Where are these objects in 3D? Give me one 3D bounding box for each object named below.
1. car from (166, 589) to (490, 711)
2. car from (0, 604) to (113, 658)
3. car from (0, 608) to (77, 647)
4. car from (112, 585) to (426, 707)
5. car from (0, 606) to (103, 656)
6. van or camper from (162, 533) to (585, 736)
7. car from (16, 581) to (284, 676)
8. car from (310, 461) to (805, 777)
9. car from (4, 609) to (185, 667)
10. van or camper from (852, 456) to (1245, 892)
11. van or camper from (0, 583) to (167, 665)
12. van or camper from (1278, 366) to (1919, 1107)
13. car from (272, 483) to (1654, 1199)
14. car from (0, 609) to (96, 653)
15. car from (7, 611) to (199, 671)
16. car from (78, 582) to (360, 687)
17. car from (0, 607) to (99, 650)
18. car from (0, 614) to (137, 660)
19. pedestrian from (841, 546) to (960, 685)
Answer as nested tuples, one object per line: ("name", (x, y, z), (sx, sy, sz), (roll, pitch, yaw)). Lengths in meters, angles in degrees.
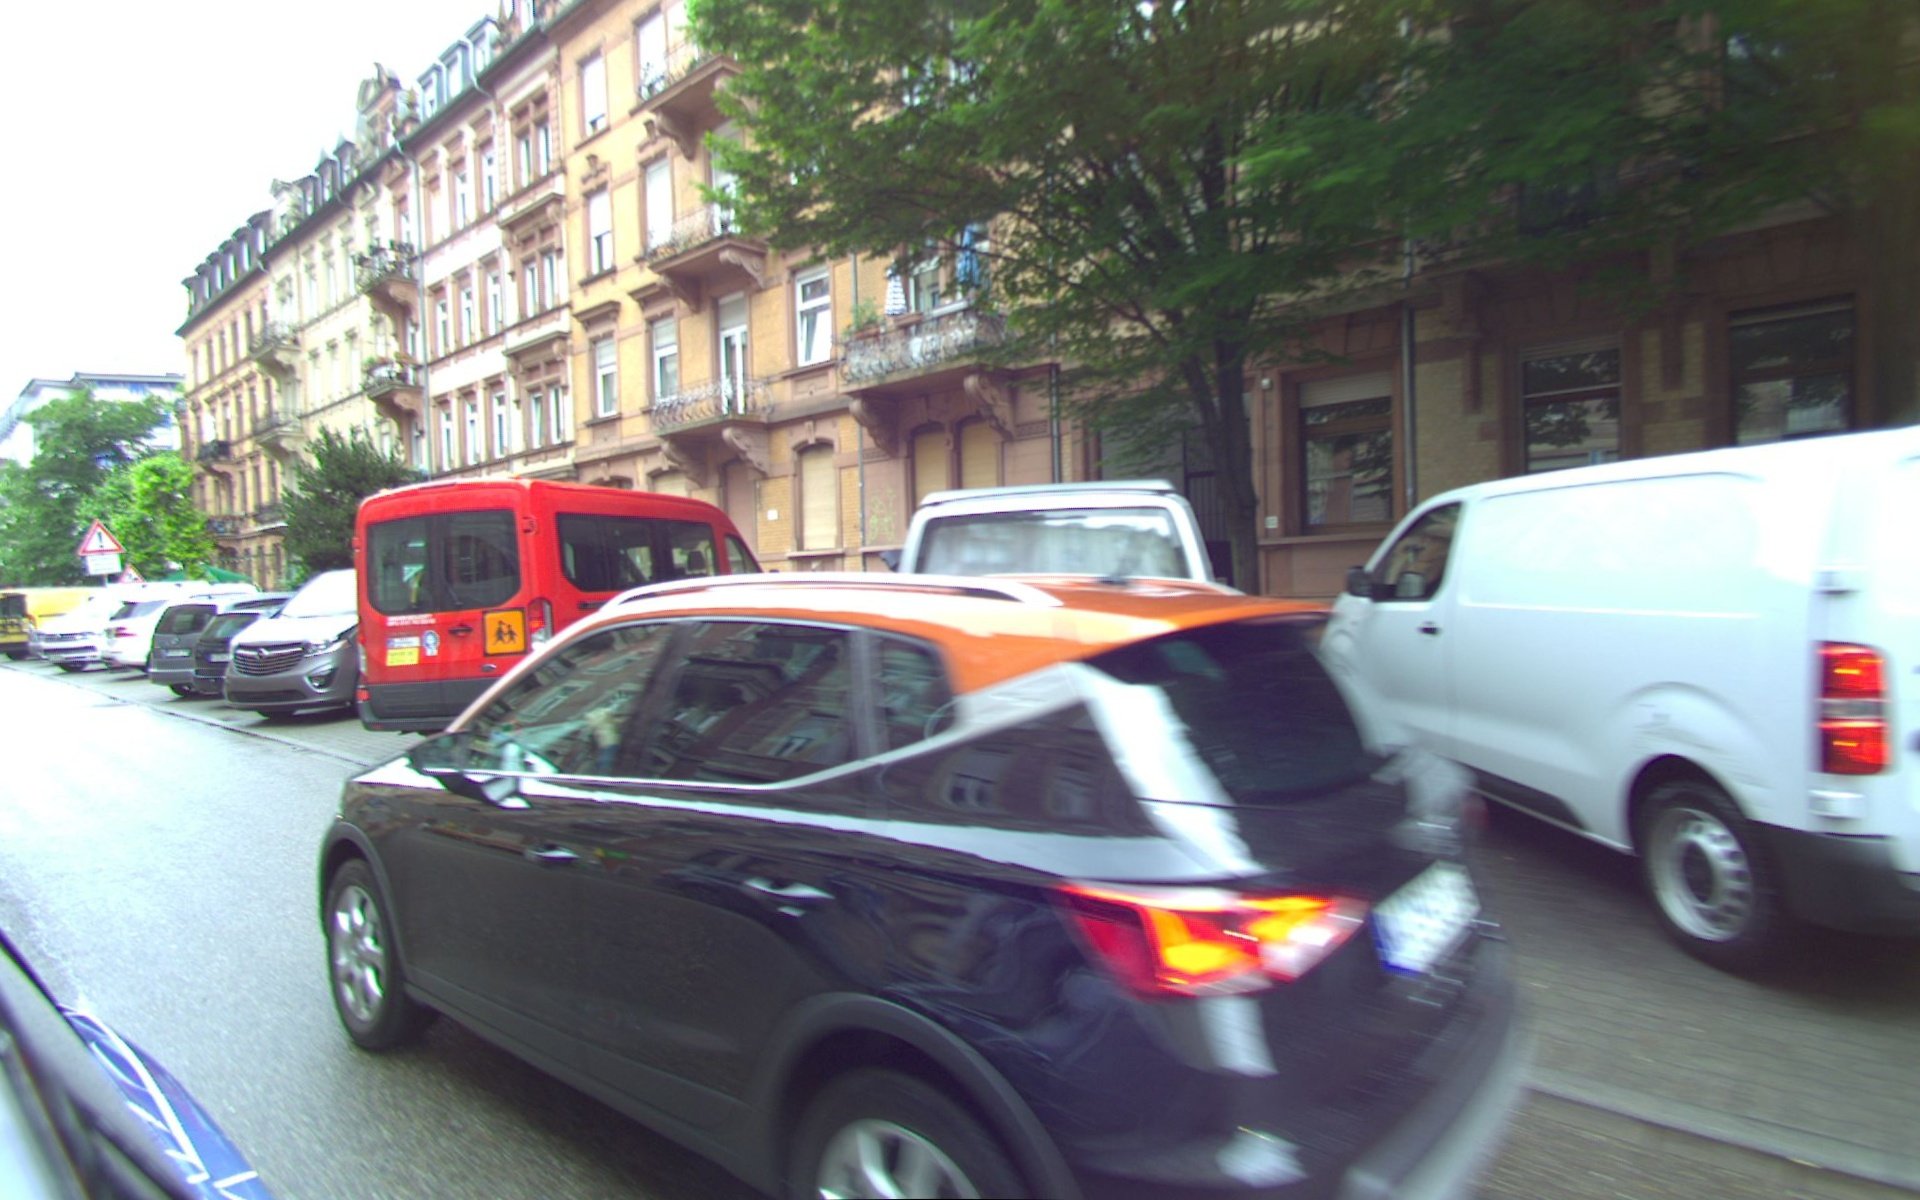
("car", (-10.065, 0.719, 16.577), (1.741, 1.515, 4.331), (-3, 2, 19))
("car", (-35.619, 1.161, 39.260), (1.778, 1.674, 4.133), (-1, 4, 5))
("car", (-45.522, 1.323, 48.639), (1.975, 1.575, 4.453), (-1, 3, 5))
("car", (-12.027, 0.712, 18.055), (1.827, 1.642, 4.425), (-3, 3, 15))
("car", (-37.902, 1.250, 41.448), (1.778, 1.674, 4.133), (-2, 4, 5))
("van or camper", (-7.950, 0.369, 14.489), (2.323, 2.366, 5.002), (-2, 1, 15))
("car", (-20.555, 0.635, 26.042), (1.854, 2.094, 5.225), (-1, 2, 17))
("car", (-3.846, 0.120, 11.176), (2.207, 2.560, 5.550), (-2, 1, 14))
("car", (-26.774, 1.130, 31.475), (1.942, 1.506, 3.907), (-2, 1, 10))
("van or camper", (0.698, 0.241, 6.917), (1.761, 1.989, 4.439), (-2, 3, 8))
("van or camper", (-29.269, 0.746, 33.260), (2.160, 2.284, 4.715), (-3, 2, 9))
("van or camper", (3.538, 0.220, 5.022), (2.304, 1.967, 4.699), (-3, 2, 0))
("car", (-0.443, 0.659, 3.028), (4.001, 1.571, 1.653), (-1, 1, 41))
("car", (-40.029, 1.302, 43.606), (1.779, 1.504, 4.132), (-1, 4, 6))
("car", (-24.733, 1.132, 29.405), (1.766, 1.446, 3.984), (-2, 1, 13))
("car", (-16.373, 0.675, 22.544), (2.544, 1.798, 4.533), (-1, 3, 40))
("car", (-41.895, 1.291, 45.467), (1.976, 1.574, 4.716), (-4, 3, 7))
("car", (-31.567, 1.273, 35.522), (1.807, 1.506, 3.988), (-1, -1, 9))
("pedestrian", (-0.749, 0.185, 12.888), (1.088, 1.641, 0.893), (-2, 4, 36))
